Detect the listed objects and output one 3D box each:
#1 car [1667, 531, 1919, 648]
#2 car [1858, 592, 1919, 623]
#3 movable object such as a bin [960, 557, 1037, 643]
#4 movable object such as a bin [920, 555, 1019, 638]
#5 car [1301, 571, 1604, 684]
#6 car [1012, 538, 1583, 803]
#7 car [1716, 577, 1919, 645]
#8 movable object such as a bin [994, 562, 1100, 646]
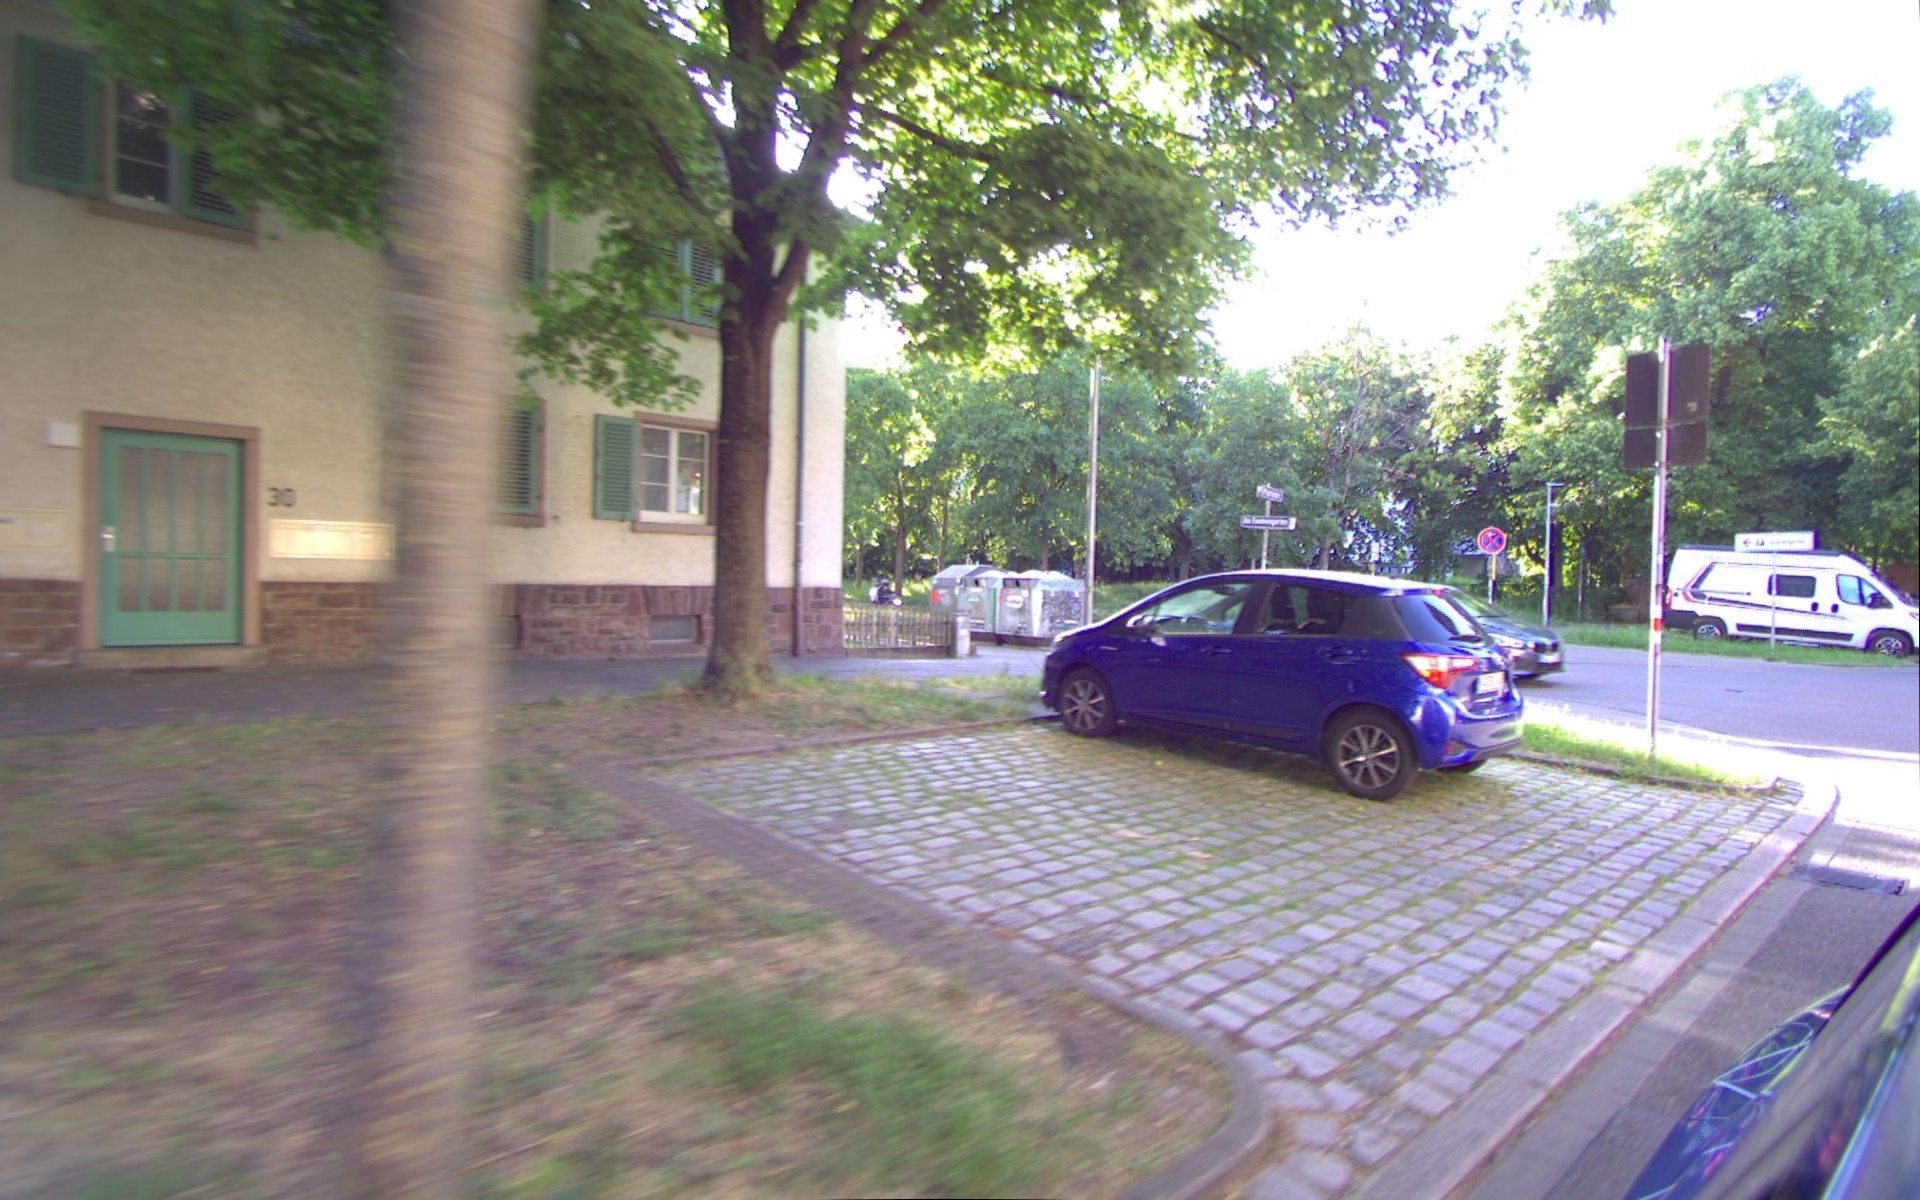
[{"bbox_3d":[21.145,-0.337,25.060,2.201,2.646,5.621,-2,3,-43],"label":"car"},{"bbox_3d":[42.165,0.338,44.477,1.756,1.271,3.873,-2,3,-43],"label":"car"},{"bbox_3d":[0.859,-0.033,22.747,1.129,1.850,1.387,-1,2,-35],"label":"movable object such as a bin"},{"bbox_3d":[0.220,-0.120,24.101,1.890,1.876,1.394,-1,2,-35],"label":"movable object such as a bin"},{"bbox_3d":[8.373,0.345,17.739,1.852,1.642,4.628,-1,3,-24],"label":"car"},{"bbox_3d":[2.555,0.319,8.338,1.967,1.574,3.992,-2,5,-43],"label":"car"},{"bbox_3d":[22.994,0.221,26.976,1.946,1.594,4.291,-2,3,-43],"label":"car"},{"bbox_3d":[1.833,0.036,21.544,1.561,1.677,1.640,-1,2,-35],"label":"movable object such as a bin"}]
